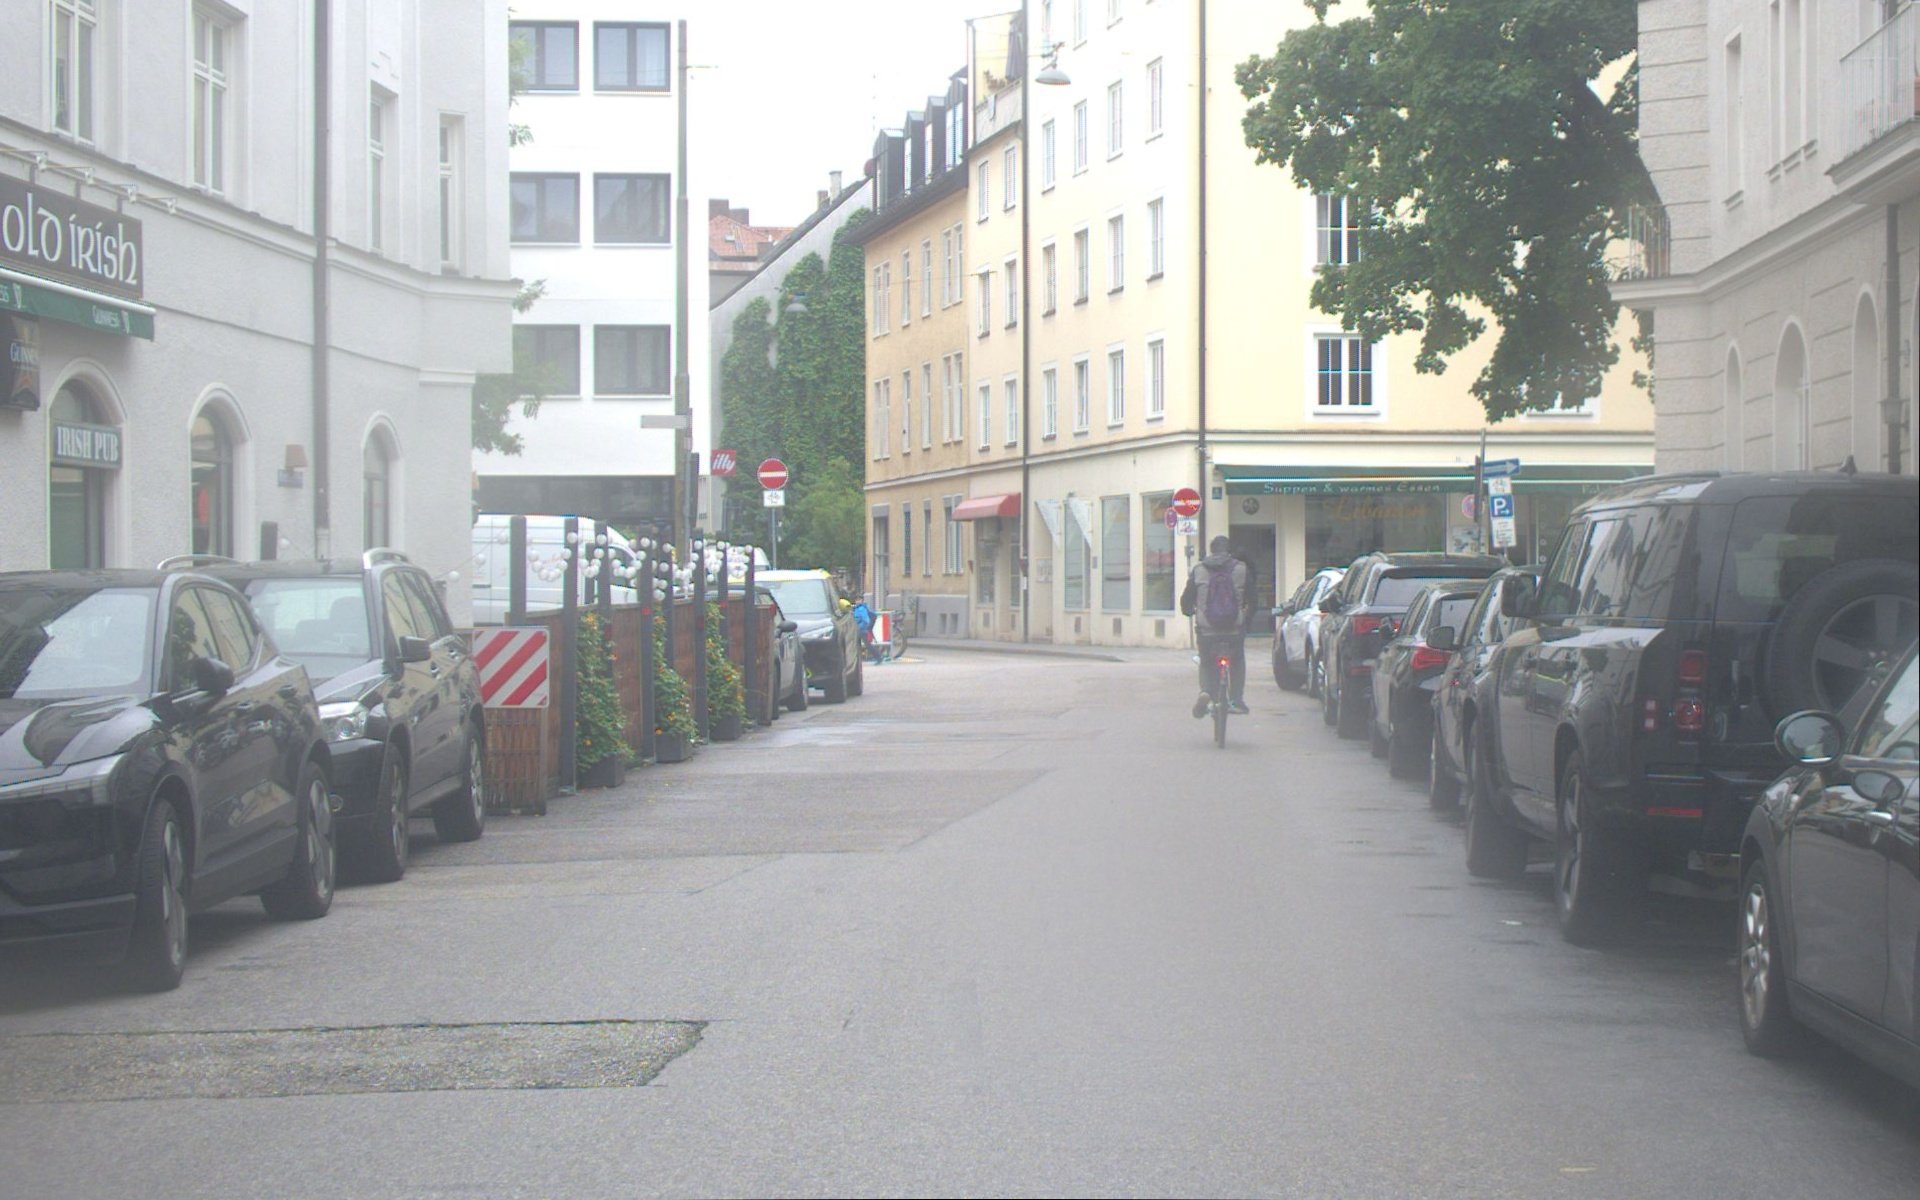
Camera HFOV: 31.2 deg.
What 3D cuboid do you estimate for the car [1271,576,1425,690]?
[{"bbox_3d":[5.187,0.414,46.371,1.669,1.430,4.213,0,1,1],"label":"car"}]

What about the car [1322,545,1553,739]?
[{"bbox_3d":[4.312,0.337,31.592,1.777,1.630,4.374,1,1,4],"label":"car"}]

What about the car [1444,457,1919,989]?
[{"bbox_3d":[3.358,0.434,14.736,1.911,1.879,4.714,2,1,1],"label":"car"}]

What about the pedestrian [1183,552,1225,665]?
[{"bbox_3d":[3.617,0.123,50.955,0.611,1.655,0.551,0,0,6],"label":"pedestrian"}]

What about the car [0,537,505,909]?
[{"bbox_3d":[-3.636,0.554,18.413,1.746,1.667,4.276,-3,1,0],"label":"car"}]

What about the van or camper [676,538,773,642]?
[{"bbox_3d":[-5.951,-0.266,86.462,1.993,2.531,4.761,-1,0,-9],"label":"van or camper"}]

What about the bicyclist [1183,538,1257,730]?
[{"bbox_3d":[2.206,0.276,29.124,0.606,1.601,0.757,-1,1,5],"label":"bicyclist"}]

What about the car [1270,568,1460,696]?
[{"bbox_3d":[4.884,0.360,41.900,1.750,1.491,3.910,0,0,-2],"label":"car"}]

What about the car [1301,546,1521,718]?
[{"bbox_3d":[4.722,0.300,36.521,1.789,1.707,4.426,-1,0,1],"label":"car"}]

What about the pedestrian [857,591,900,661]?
[{"bbox_3d":[-1.495,0.477,63.100,0.699,1.266,0.651,-1,0,6],"label":"pedestrian"}]

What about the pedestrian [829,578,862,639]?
[{"bbox_3d":[-3.372,0.255,101.256,0.877,1.772,0.774,-1,0,-10],"label":"pedestrian"}]

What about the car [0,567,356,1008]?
[{"bbox_3d":[-3.656,0.615,13.649,1.742,1.482,4.181,0,1,1],"label":"car"}]

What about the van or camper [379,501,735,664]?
[{"bbox_3d":[-6.845,-0.287,58.534,5.903,2.668,1.873,-1,-1,-6],"label":"van or camper"}]

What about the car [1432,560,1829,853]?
[{"bbox_3d":[3.770,0.537,19.868,1.655,1.520,3.637,0,1,1],"label":"car"}]

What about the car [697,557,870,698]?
[{"bbox_3d":[-2.121,0.322,42.292,1.676,1.591,3.945,-2,0,3],"label":"car"}]

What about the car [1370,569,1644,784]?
[{"bbox_3d":[4.036,0.515,25.892,1.707,1.466,4.200,0,1,5],"label":"car"}]

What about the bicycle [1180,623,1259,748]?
[{"bbox_3d":[2.198,0.711,29.044,0.639,1.001,1.574,-1,0,5],"label":"bicycle"}]

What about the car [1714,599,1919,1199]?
[{"bbox_3d":[3.146,0.727,9.058,1.664,1.391,3.581,2,0,3],"label":"car"}]
